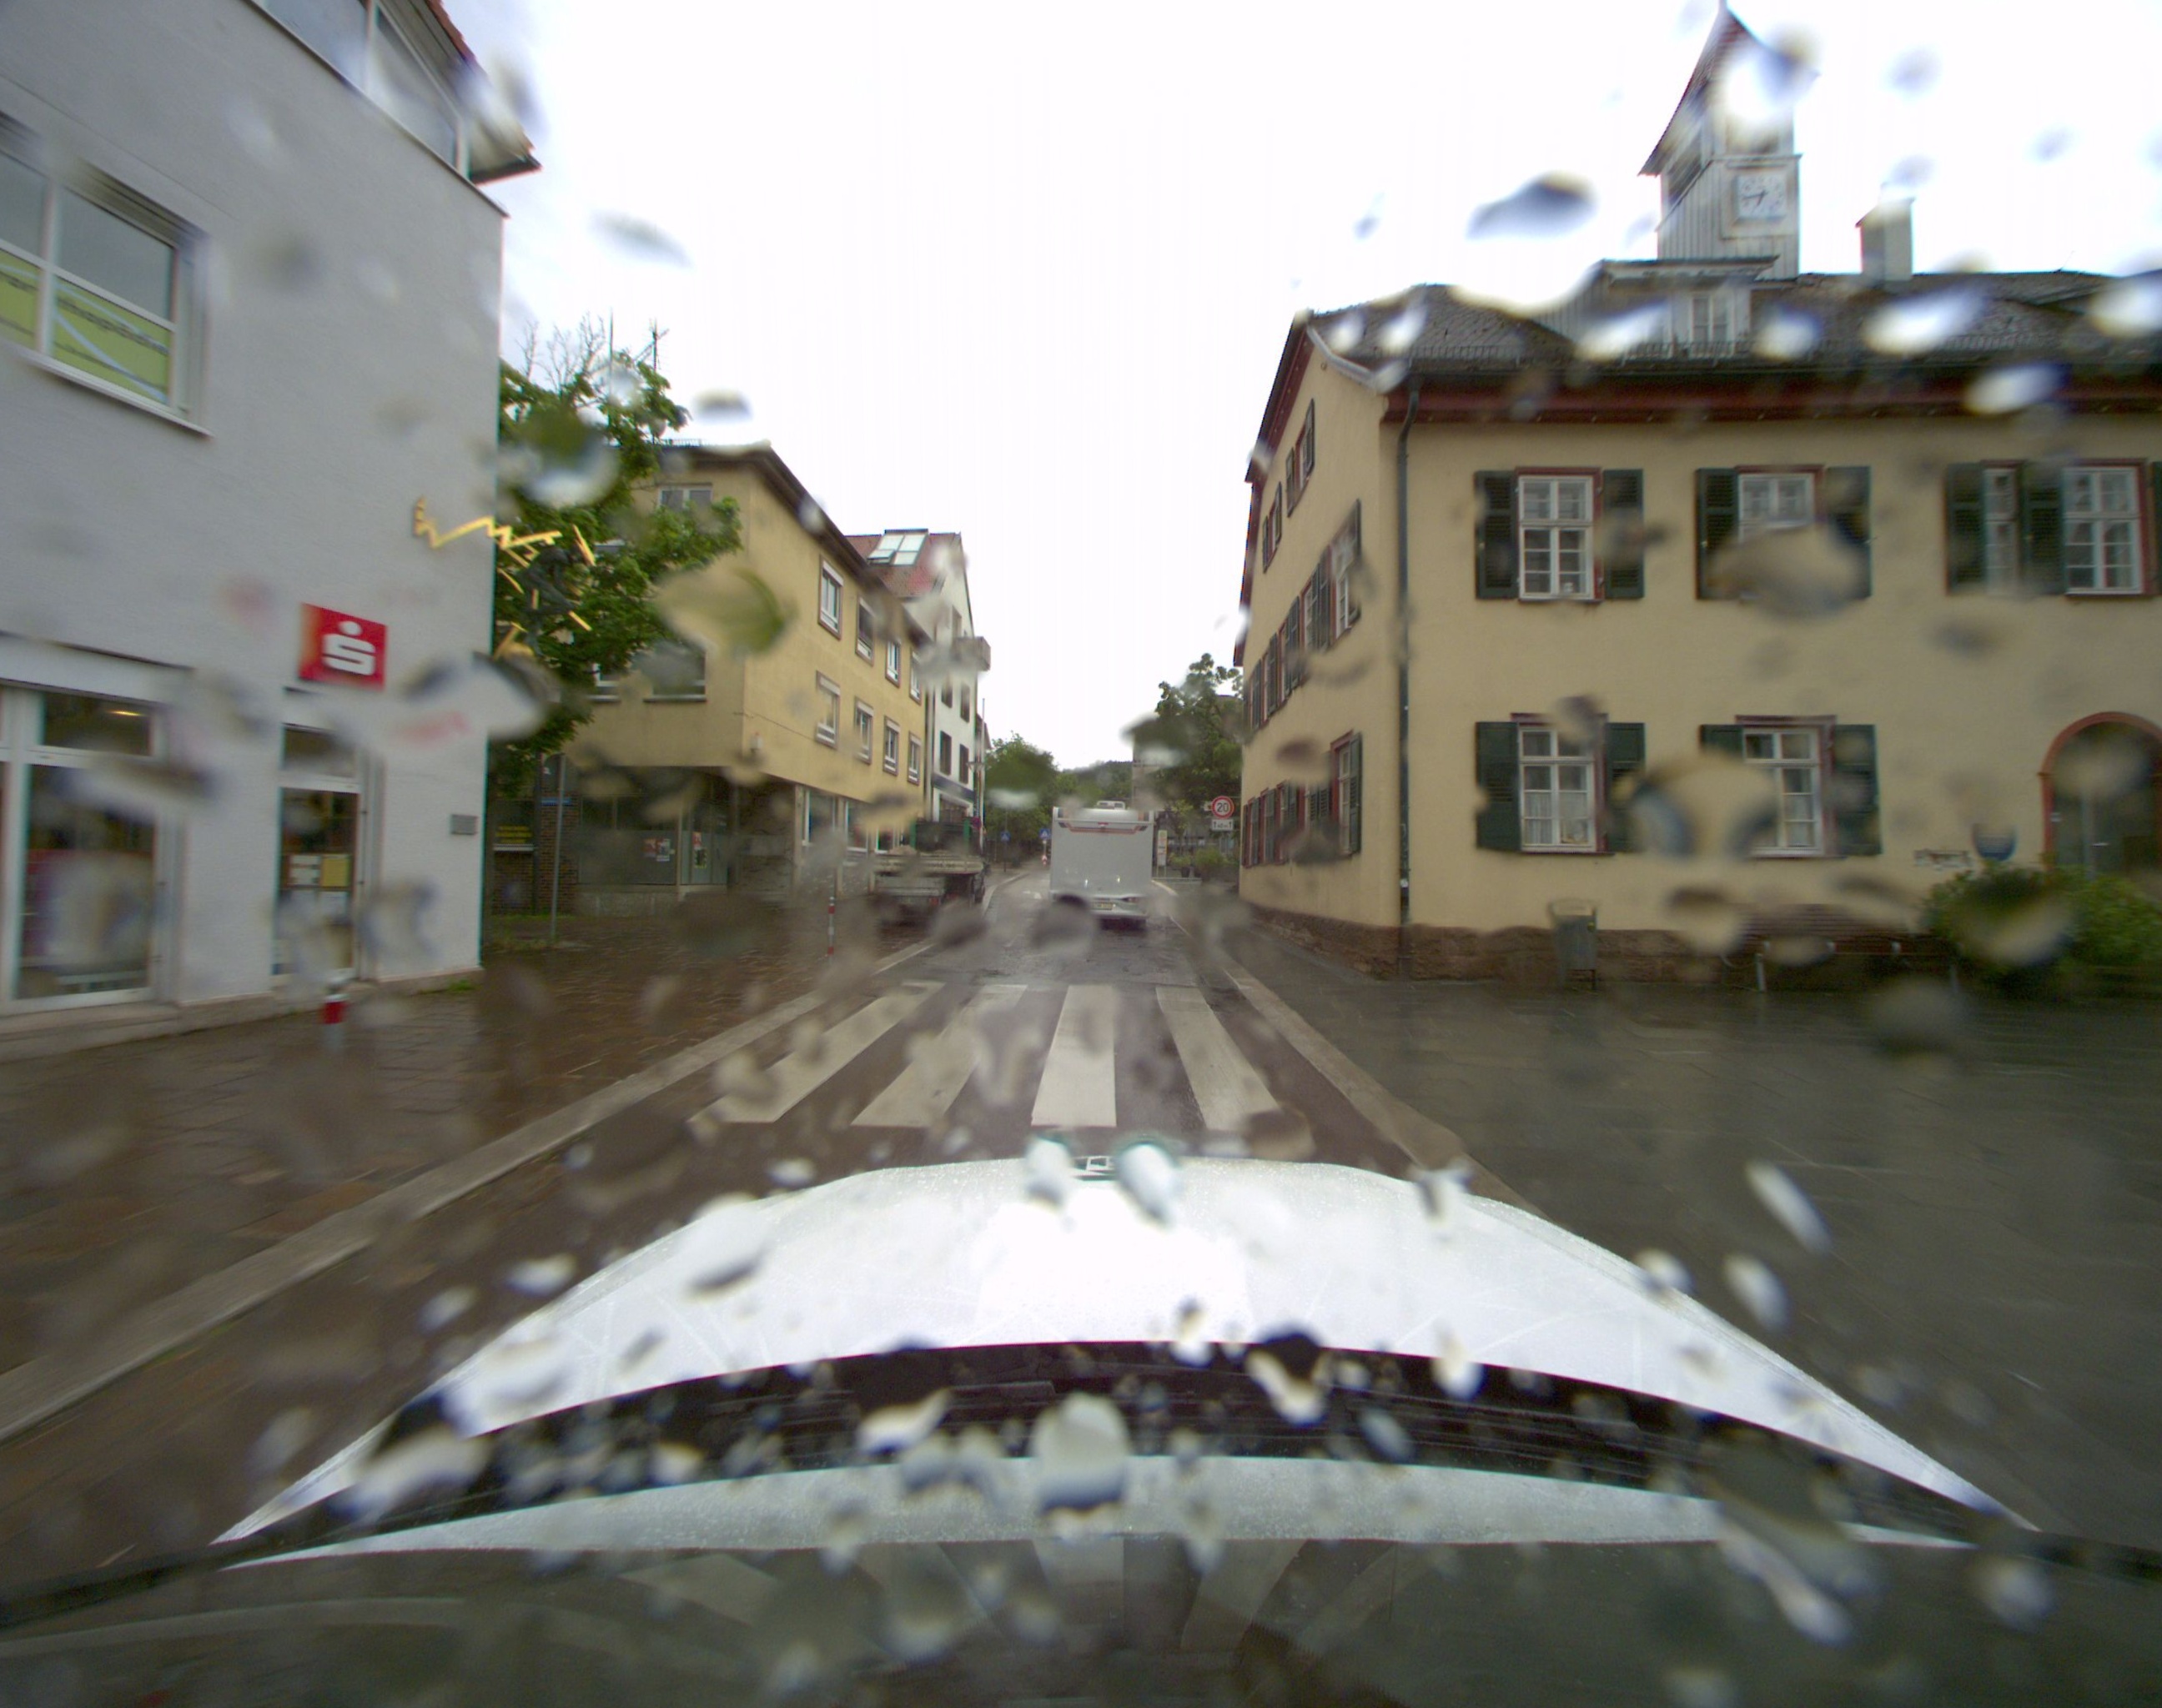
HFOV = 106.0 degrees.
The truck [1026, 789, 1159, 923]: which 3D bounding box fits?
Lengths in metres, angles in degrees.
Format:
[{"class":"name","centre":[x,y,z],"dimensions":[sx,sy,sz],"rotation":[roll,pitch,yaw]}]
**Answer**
[{"class":"truck","centre":[0.342,0.081,20.316],"dimensions":[2.795,2.797,6.109],"rotation":[-1,-1,2]}]

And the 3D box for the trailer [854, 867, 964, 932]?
[{"class":"trailer","centre":[-3.563,0.905,17.359],"dimensions":[1.848,1.124,3.016],"rotation":[0,2,-4]}]

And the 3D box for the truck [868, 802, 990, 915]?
[{"class":"truck","centre":[-3.877,0.020,22.091],"dimensions":[2.394,2.594,6.477],"rotation":[1,2,-3]}]
